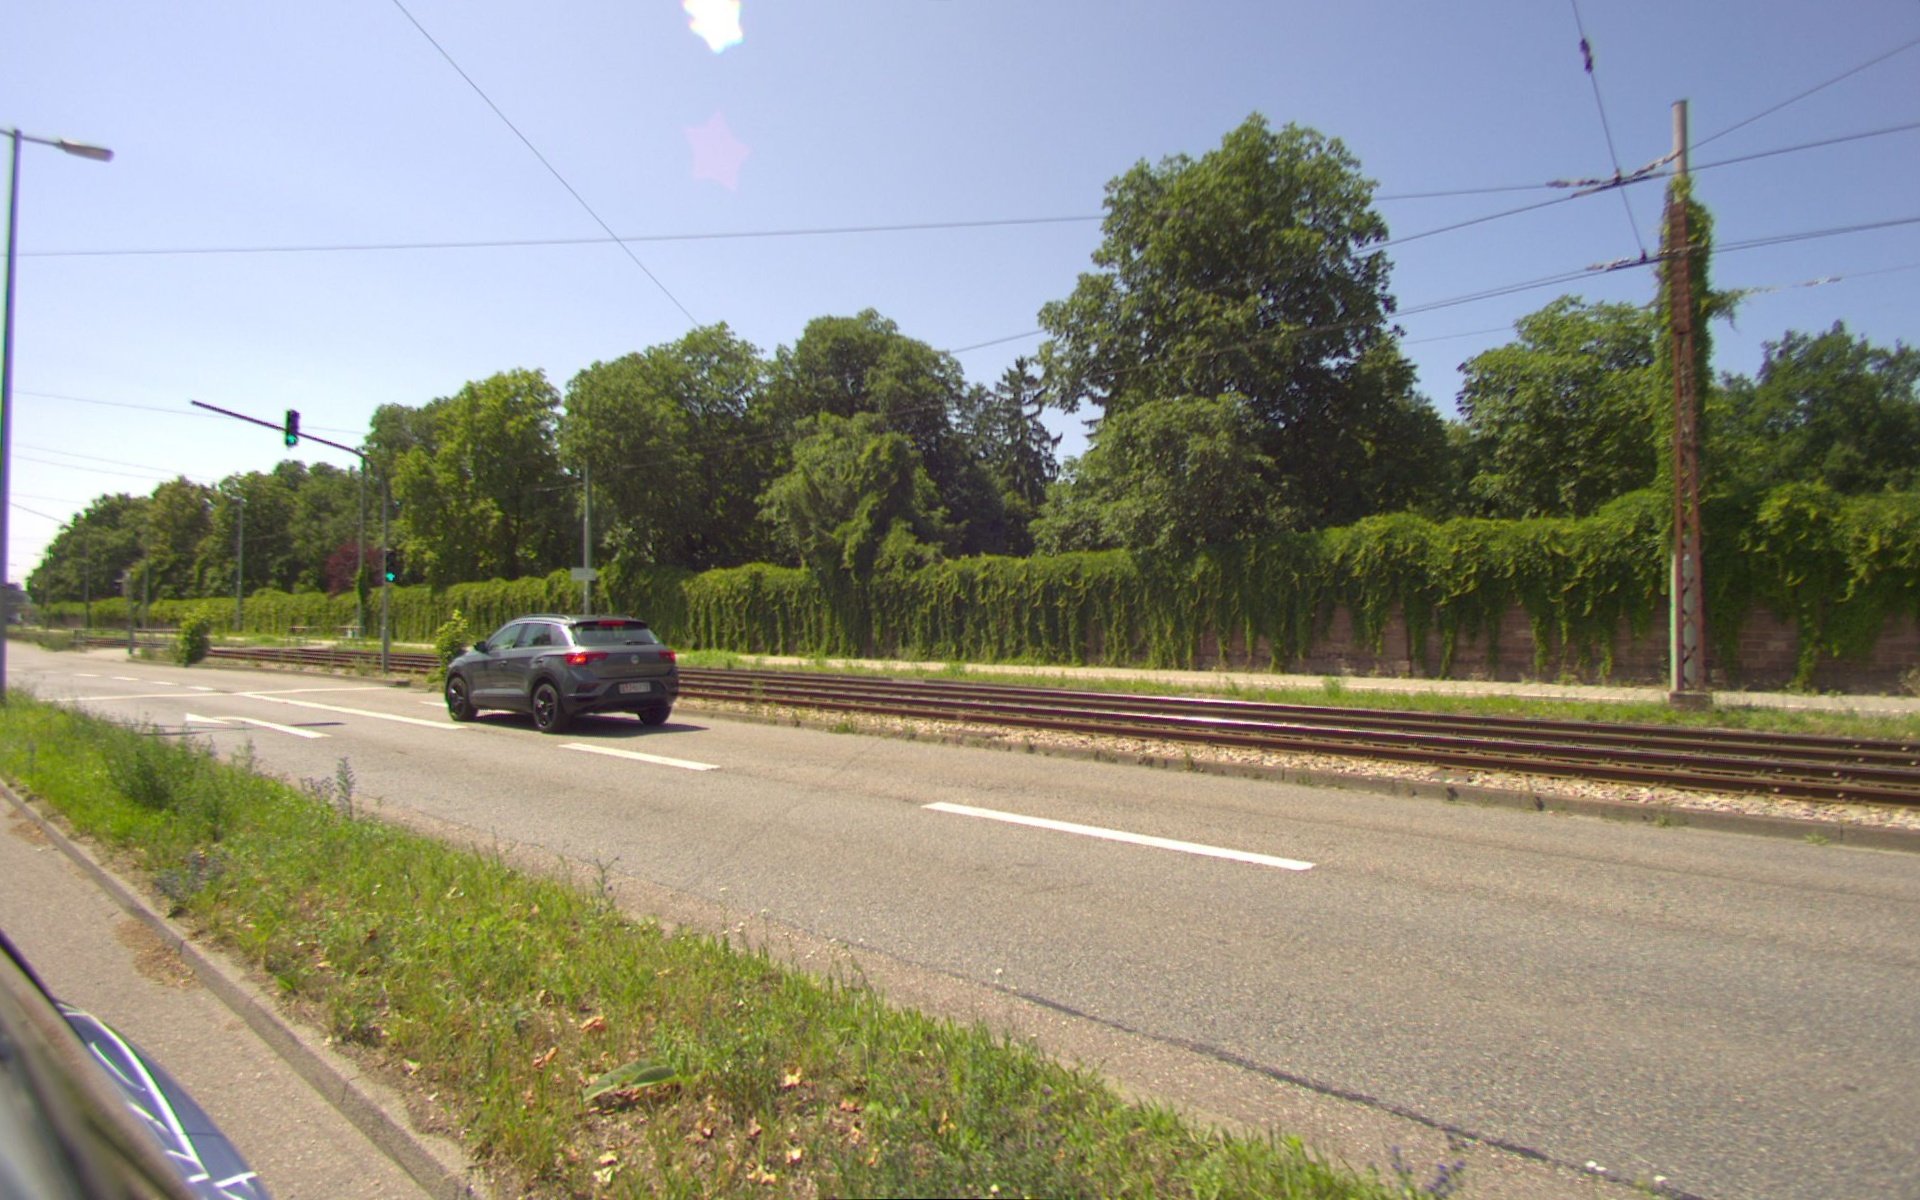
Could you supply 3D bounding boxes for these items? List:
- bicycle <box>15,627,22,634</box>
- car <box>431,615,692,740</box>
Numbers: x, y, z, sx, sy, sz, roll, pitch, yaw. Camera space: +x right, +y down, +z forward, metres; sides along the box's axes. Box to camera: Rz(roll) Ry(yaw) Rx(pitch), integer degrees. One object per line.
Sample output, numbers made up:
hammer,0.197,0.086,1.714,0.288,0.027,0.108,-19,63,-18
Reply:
bicycle,-143.558,4.656,154.307,1.978,1.063,0.609,-1,0,44
car,-5.736,1.011,14.380,4.061,1.524,1.680,-2,-2,39
